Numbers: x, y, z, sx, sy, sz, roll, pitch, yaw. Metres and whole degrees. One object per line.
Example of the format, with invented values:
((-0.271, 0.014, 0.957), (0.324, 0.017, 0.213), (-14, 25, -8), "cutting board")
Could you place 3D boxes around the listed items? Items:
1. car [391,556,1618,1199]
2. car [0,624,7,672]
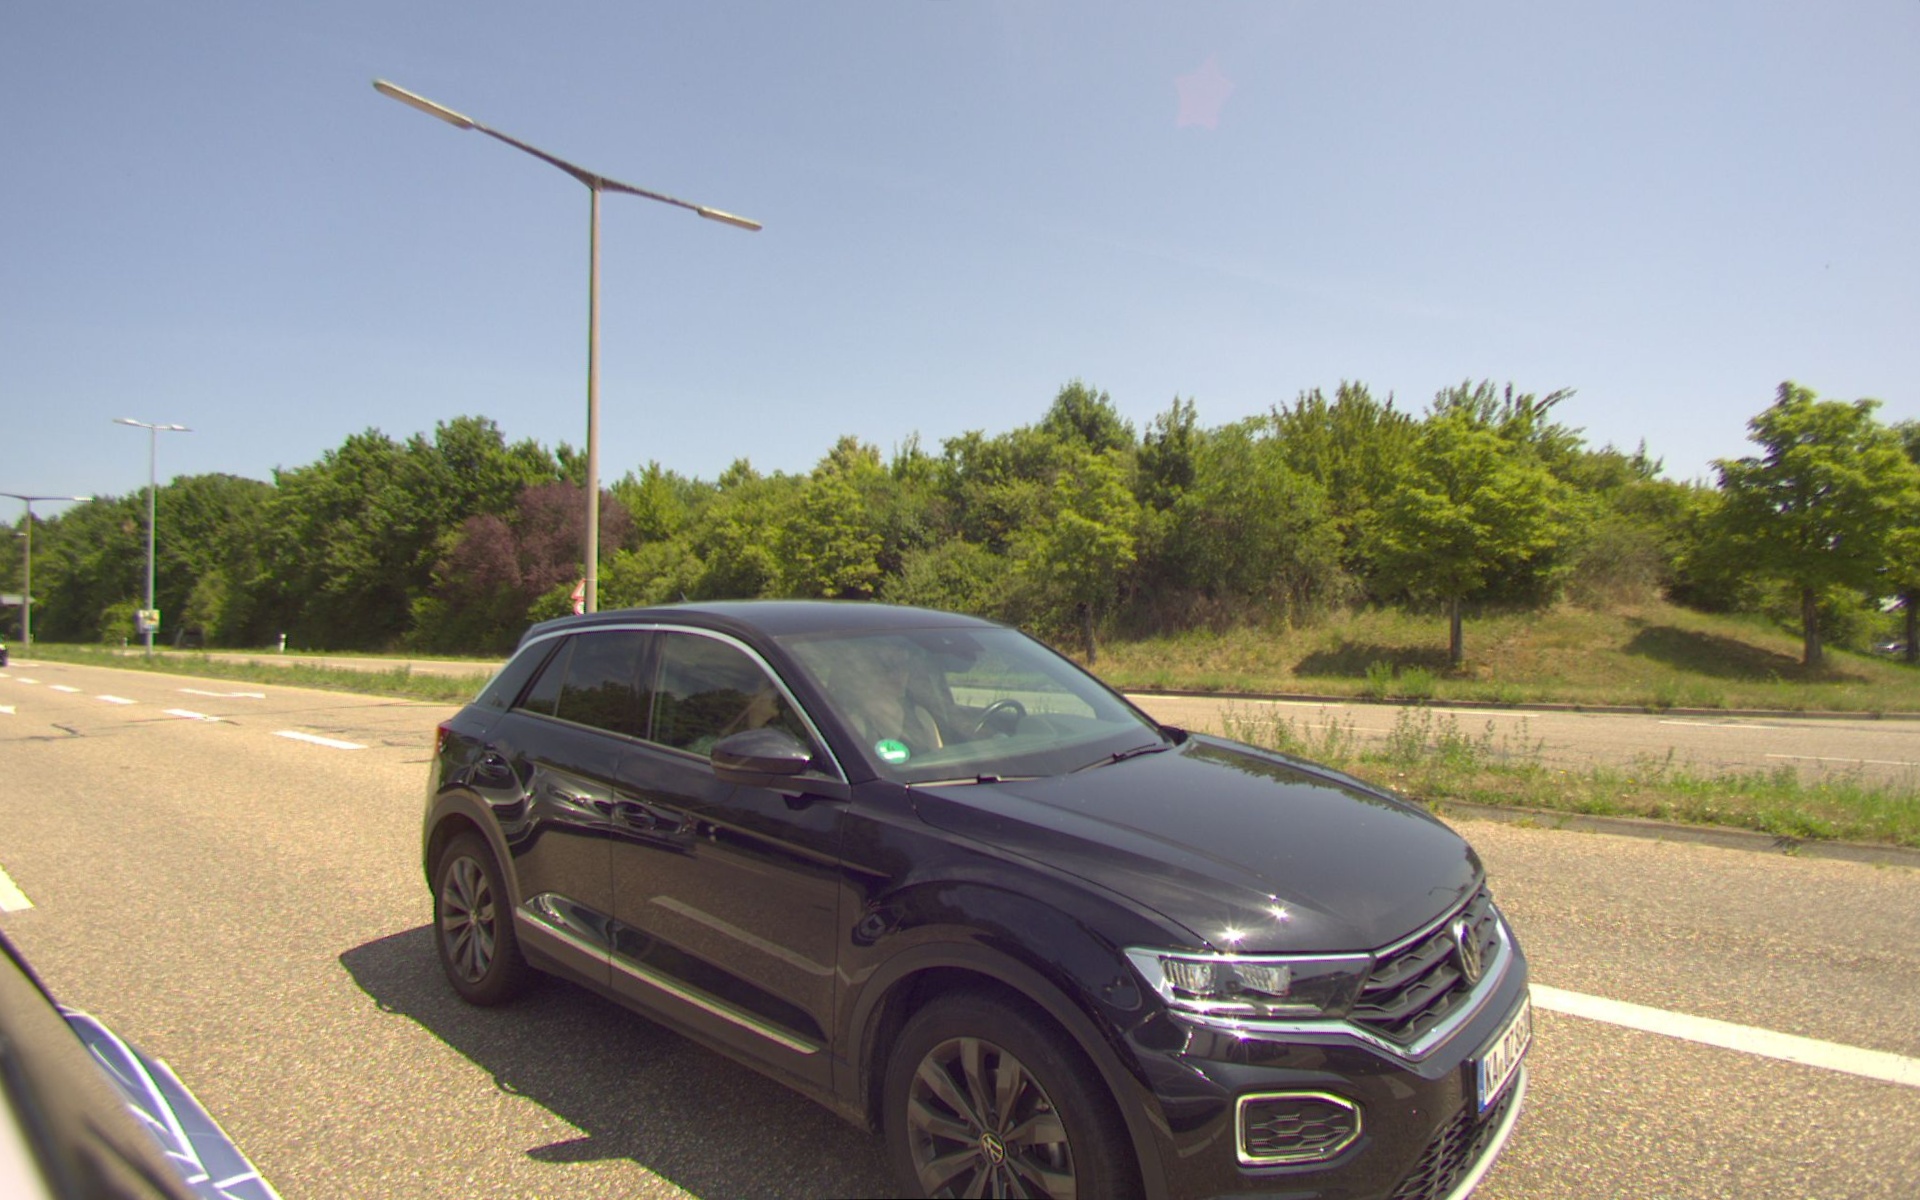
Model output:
((-0.249, 0.711, 3.437), (3.969, 1.523, 1.716), (-1, 0, 41), "car")
((-38.878, 1.862, 39.616), (4.317, 1.840, 1.714), (-2, -2, 39), "car")
